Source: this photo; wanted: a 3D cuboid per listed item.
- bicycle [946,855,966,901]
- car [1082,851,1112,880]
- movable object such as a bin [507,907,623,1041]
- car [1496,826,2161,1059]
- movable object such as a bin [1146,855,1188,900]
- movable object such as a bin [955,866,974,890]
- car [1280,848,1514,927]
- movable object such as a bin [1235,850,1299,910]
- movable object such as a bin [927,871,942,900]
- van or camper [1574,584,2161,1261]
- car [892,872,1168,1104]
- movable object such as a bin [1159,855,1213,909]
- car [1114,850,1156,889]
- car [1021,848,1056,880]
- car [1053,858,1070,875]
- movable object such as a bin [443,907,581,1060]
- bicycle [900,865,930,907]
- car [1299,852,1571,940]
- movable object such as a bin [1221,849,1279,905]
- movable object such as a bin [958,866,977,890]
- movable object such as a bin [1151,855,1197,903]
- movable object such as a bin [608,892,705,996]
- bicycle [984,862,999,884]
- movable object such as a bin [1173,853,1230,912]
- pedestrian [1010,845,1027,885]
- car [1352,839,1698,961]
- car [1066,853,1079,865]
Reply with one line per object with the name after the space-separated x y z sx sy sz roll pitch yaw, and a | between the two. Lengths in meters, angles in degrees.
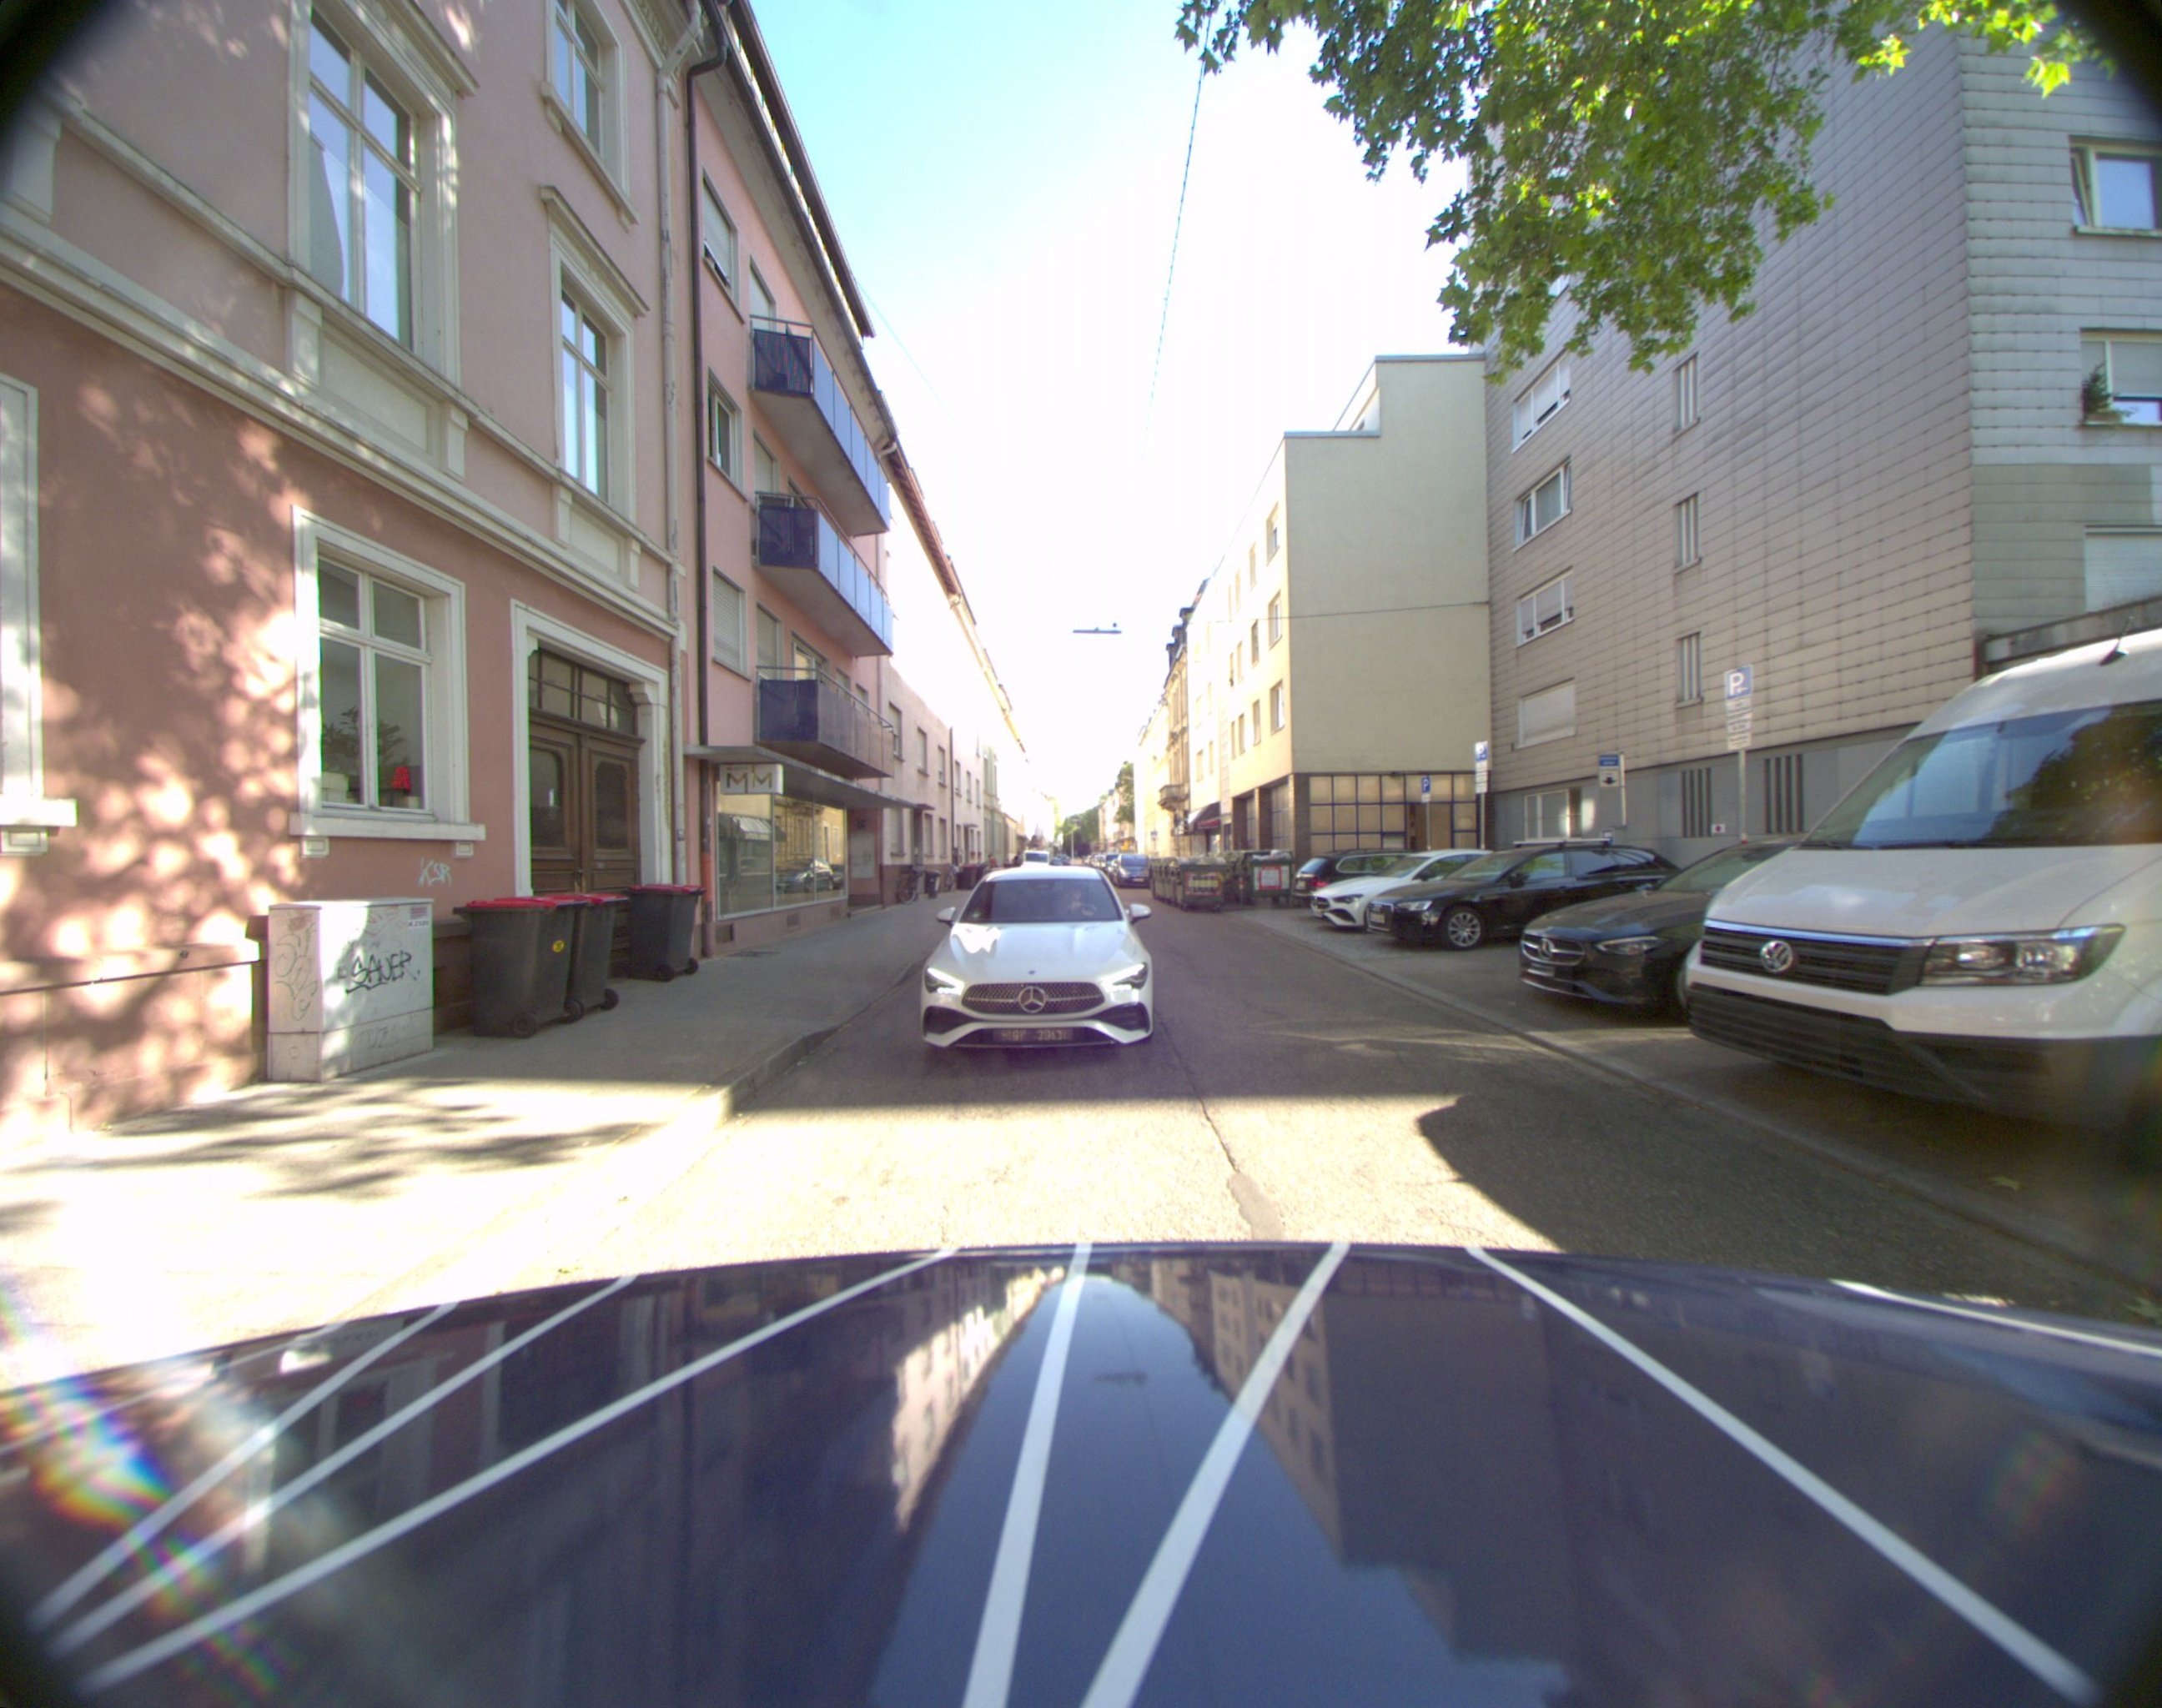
-4.939 0.923 30.041 0.402 1.725 2.107 -1 0 1 | bicycle
0.978 0.695 47.876 1.765 1.698 4.328 -1 0 1 | car
-4.462 1.014 6.600 0.570 1.052 0.612 2 0 -2 | movable object such as a bin
6.327 0.670 6.639 4.415 1.524 1.699 -3 0 -1 | car
2.937 0.785 26.178 1.222 1.492 1.560 -1 0 -2 | movable object such as a bin
-4.879 1.007 31.907 0.717 0.996 0.546 2 0 -2 | movable object such as a bin
6.774 0.678 16.525 4.417 1.524 1.698 -1 0 -6 | car
4.861 0.656 19.936 1.328 1.492 1.195 -1 0 -2 | movable object such as a bin
-4.821 1.021 24.952 0.416 0.935 0.302 2 0 -2 | movable object such as a bin
6.743 0.059 3.915 6.922 2.559 2.000 -4 0 1 | van or camper
-0.323 0.978 7.484 1.862 1.448 4.562 -1 0 1 | car
3.074 0.781 22.401 1.247 1.492 1.925 -1 0 -2 | movable object such as a bin
2.537 0.698 36.495 1.765 1.698 4.328 -1 0 1 | car
-2.533 0.570 46.128 1.765 1.843 4.328 -1 0 1 | car
-2.186 1.352 84.231 1.765 1.698 4.327 -1 0 0 | car
-4.433 0.987 5.964 0.570 1.078 0.654 2 0 -2 | movable object such as a bin
-4.862 0.908 22.363 0.402 1.143 2.025 -1 0 1 | bicycle
6.527 0.736 14.228 4.417 1.454 1.599 -1 0 -6 | car
4.733 0.617 21.359 1.222 1.492 1.517 -1 0 -2 | movable object such as a bin
-4.852 1.013 32.490 0.717 0.996 0.546 2 0 -2 | movable object such as a bin
2.996 0.782 24.582 1.222 1.492 1.560 -1 0 -2 | movable object such as a bin
-4.750 0.988 8.529 0.718 1.078 0.618 2 0 -2 | movable object such as a bin
-4.676 0.981 39.851 0.490 1.089 1.933 -1 0 1 | bicycle
3.207 0.734 20.487 1.241 1.491 1.877 0 0 0 | movable object such as a bin
-3.229 0.569 39.174 0.761 2.002 0.771 -1 1 1 | pedestrian
6.652 0.636 11.617 4.417 1.607 1.698 -1 0 -6 | car
-1.197 0.750 109.920 1.765 1.698 4.327 -1 0 0 | car
